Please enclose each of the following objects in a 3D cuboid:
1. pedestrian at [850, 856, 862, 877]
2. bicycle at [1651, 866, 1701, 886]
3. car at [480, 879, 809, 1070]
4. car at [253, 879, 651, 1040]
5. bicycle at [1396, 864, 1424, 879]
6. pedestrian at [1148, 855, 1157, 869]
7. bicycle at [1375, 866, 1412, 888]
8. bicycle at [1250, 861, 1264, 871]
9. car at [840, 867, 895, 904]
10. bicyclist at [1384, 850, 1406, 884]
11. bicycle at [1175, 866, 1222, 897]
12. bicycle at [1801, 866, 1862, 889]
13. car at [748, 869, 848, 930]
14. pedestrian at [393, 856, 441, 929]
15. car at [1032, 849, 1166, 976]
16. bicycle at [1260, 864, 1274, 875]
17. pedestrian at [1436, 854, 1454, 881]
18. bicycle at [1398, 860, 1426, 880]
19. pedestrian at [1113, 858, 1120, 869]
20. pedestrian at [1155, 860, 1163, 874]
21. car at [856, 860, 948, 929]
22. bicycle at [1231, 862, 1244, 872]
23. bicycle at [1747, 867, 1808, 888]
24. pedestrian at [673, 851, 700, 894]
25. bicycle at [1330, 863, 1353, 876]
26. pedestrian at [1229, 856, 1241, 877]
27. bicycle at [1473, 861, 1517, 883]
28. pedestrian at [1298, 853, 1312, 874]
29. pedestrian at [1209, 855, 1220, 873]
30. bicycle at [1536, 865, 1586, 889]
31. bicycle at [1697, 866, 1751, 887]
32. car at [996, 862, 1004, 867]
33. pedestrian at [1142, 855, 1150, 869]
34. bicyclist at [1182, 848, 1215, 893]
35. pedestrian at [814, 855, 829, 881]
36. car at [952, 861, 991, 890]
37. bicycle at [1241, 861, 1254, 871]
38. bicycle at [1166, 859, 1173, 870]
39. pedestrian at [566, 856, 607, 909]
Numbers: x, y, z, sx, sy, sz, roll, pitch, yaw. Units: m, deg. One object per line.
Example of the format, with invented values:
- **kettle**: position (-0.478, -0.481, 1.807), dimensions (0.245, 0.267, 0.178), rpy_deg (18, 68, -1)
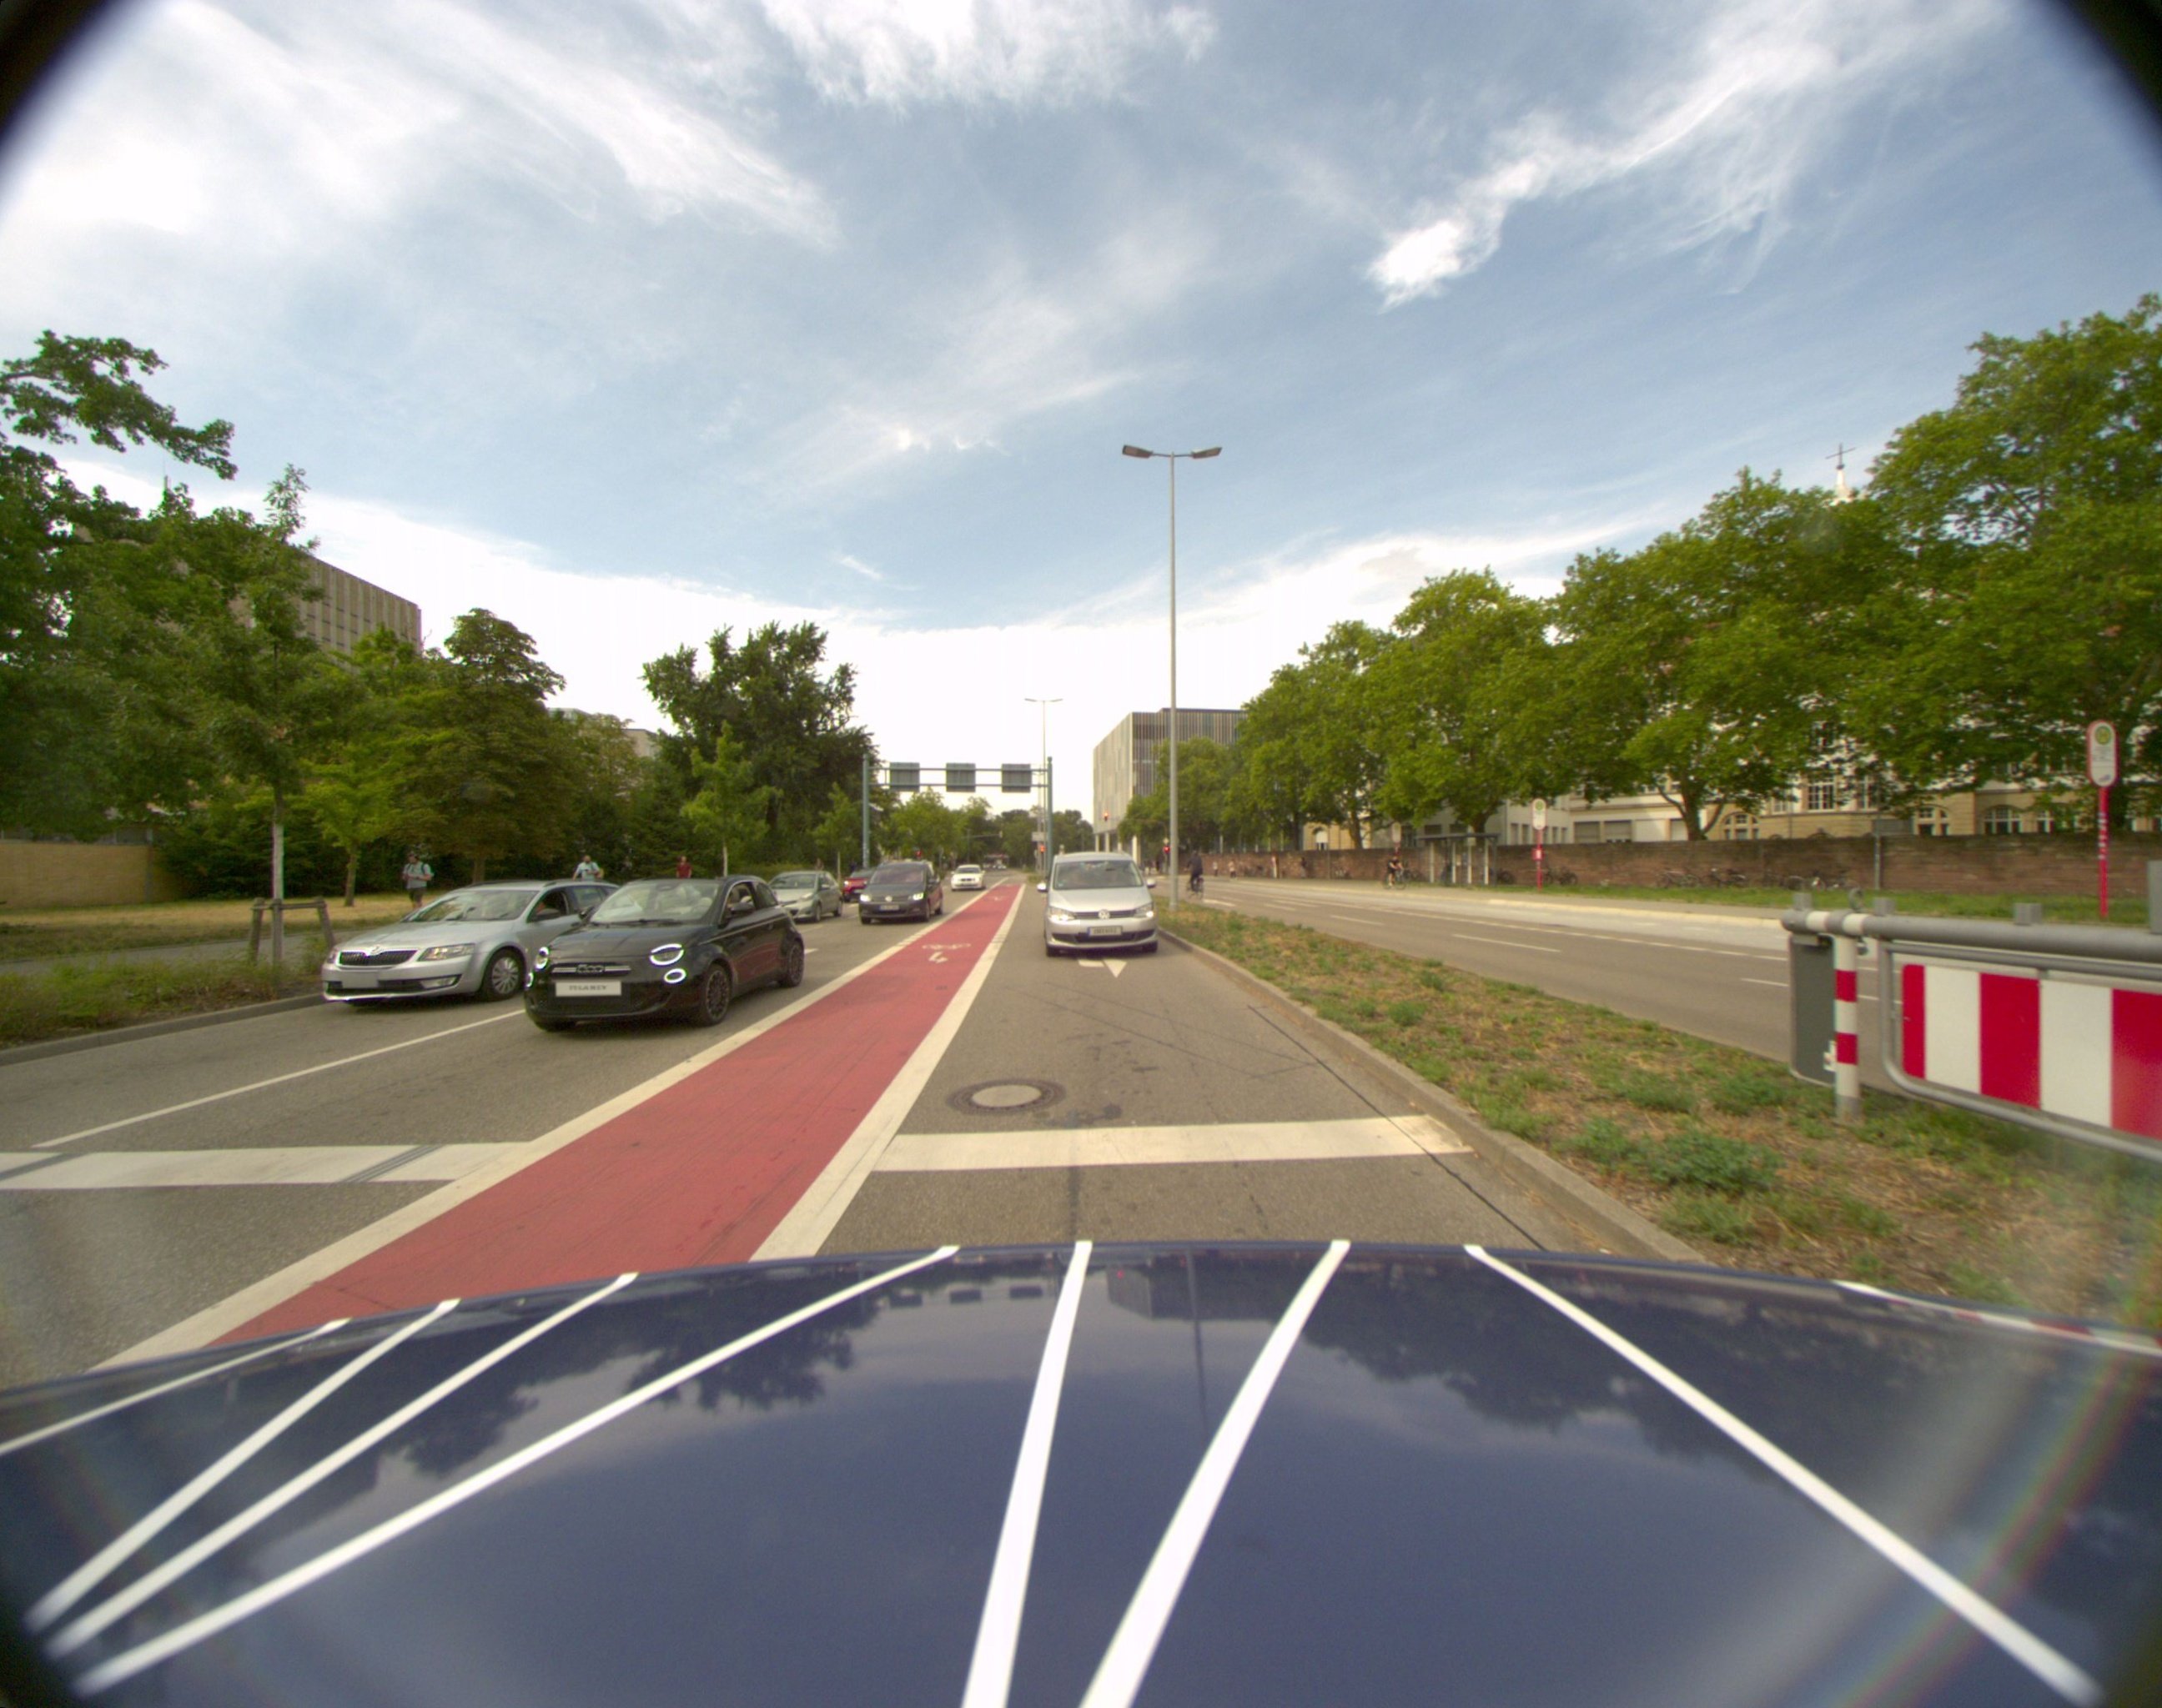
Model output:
- **pedestrian**: position (-17.846, 0.987, 60.297), dimensions (0.714, 1.701, 0.694), rpy_deg (-2, 1, -4)
- **bicycle**: position (27.360, 1.003, 34.951), dimensions (0.359, 0.859, 1.818), rpy_deg (2, -1, -26)
- **car**: position (-4.417, 1.108, 8.357), dimensions (1.670, 1.481, 3.440), rpy_deg (-2, 0, -2)
- **car**: position (-8.009, 1.202, 10.409), dimensions (1.824, 1.465, 4.526), rpy_deg (-2, 0, -4)
- **bicycle**: position (20.987, 1.115, 48.438), dimensions (0.662, 0.882, 1.573), rpy_deg (-4, 0, -23)
- **pedestrian**: position (8.475, 0.920, 90.036), dimensions (0.755, 1.612, 0.665), rpy_deg (-2, 1, -9)
- **bicycle**: position (14.916, 1.104, 36.296), dimensions (0.506, 0.930, 1.968), rpy_deg (-2, 2, -16)
- **bicycle**: position (15.449, 1.058, 66.651), dimensions (0.433, 0.882, 1.574), rpy_deg (-4, 0, -14)
- **car**: position (-9.378, 1.351, 33.569), dimensions (1.671, 1.407, 3.455), rpy_deg (-2, 1, -5)
- **bicyclist**: position (14.950, 0.610, 36.189), dimensions (0.580, 1.547, 0.796), rpy_deg (-2, 2, -17)
- **bicycle**: position (4.625, 1.078, 29.986), dimensions (0.760, 1.182, 2.094), rpy_deg (2, -1, -25)
- **bicycle**: position (29.959, 0.937, 30.357), dimensions (0.359, 0.859, 1.705), rpy_deg (2, -1, -29)
- **car**: position (-8.258, 1.268, 22.510), dimensions (1.671, 1.481, 3.874), rpy_deg (-2, 0, -4)
- **pedestrian**: position (-15.758, 0.904, 18.041), dimensions (0.544, 1.686, 0.694), rpy_deg (1, 1, -7)
- **car**: position (0.309, 0.805, 12.947), dimensions (1.824, 1.724, 4.528), rpy_deg (-2, 0, 1)
- **bicycle**: position (15.783, 1.295, 64.516), dimensions (0.433, 0.882, 1.574), rpy_deg (-4, 0, -14)
- **pedestrian**: position (21.964, 0.794, 45.879), dimensions (0.569, 1.612, 0.753), rpy_deg (-3, 1, -26)
- **bicycle**: position (20.423, 0.990, 46.888), dimensions (2.103, 1.182, 0.756), rpy_deg (3, -1, -43)
- **pedestrian**: position (5.340, 1.364, 113.970), dimensions (0.755, 1.612, 0.665), rpy_deg (-2, 1, -9)
- **pedestrian**: position (9.359, 1.545, 91.502), dimensions (0.755, 1.612, 0.665), rpy_deg (-2, 1, -9)
- **car**: position (-5.035, 1.073, 22.016), dimensions (1.760, 1.641, 4.684), rpy_deg (-2, 0, -4)
- **bicycle**: position (14.434, 1.166, 70.047), dimensions (0.433, 0.882, 1.574), rpy_deg (-4, 0, -14)
- **bicycle**: position (28.890, 0.969, 31.561), dimensions (0.359, 0.859, 1.887), rpy_deg (2, -1, -22)
- **pedestrian**: position (-16.280, 0.754, 31.360), dimensions (0.714, 1.701, 0.694), rpy_deg (-2, 1, -4)
- **bicycle**: position (18.741, 1.139, 54.671), dimensions (0.662, 0.882, 1.573), rpy_deg (-4, 0, -23)
- **pedestrian**: position (12.541, 1.023, 61.818), dimensions (0.755, 1.612, 0.665), rpy_deg (-2, 1, -9)
- **bicycle**: position (23.365, 1.003, 42.900), dimensions (0.760, 1.182, 2.094), rpy_deg (2, -1, -25)
- **pedestrian**: position (17.317, 0.719, 58.728), dimensions (0.756, 1.612, 0.664), rpy_deg (-3, 1, -44)
- **pedestrian**: position (12.099, 0.914, 68.710), dimensions (0.755, 1.612, 0.665), rpy_deg (-2, 1, -9)
- **bicycle**: position (24.859, 1.170, 39.381), dimensions (0.760, 1.182, 2.094), rpy_deg (2, -1, -25)
- **bicycle**: position (28.155, 0.985, 33.290), dimensions (0.359, 0.859, 1.806), rpy_deg (2, -1, -24)
- **car**: position (-25.588, 3.319, 240.613), dimensions (1.998, 1.565, 3.999), rpy_deg (-2, 1, 0)
- **pedestrian**: position (7.694, 0.944, 89.771), dimensions (0.755, 1.612, 0.665), rpy_deg (-2, 1, -9)
- **bicyclist**: position (4.632, 0.652, 29.997), dimensions (0.779, 1.700, 1.083), rpy_deg (2, -1, -26)
- **pedestrian**: position (-17.338, 0.943, 50.794), dimensions (0.714, 1.701, 0.694), rpy_deg (-2, 1, -4)
- **car**: position (-6.160, 1.186, 43.140), dimensions (1.760, 1.450, 4.222), rpy_deg (-2, 0, -4)
- **bicycle**: position (14.912, 1.068, 68.215), dimensions (0.433, 0.882, 1.574), rpy_deg (-4, 0, -14)
- **bicycle**: position (10.622, 1.231, 91.037), dimensions (0.513, 1.202, 1.395), rpy_deg (-2, 1, -4)
- **pedestrian**: position (-16.276, 0.920, 25.014), dimensions (0.842, 1.701, 0.694), rpy_deg (-2, 1, -7)
